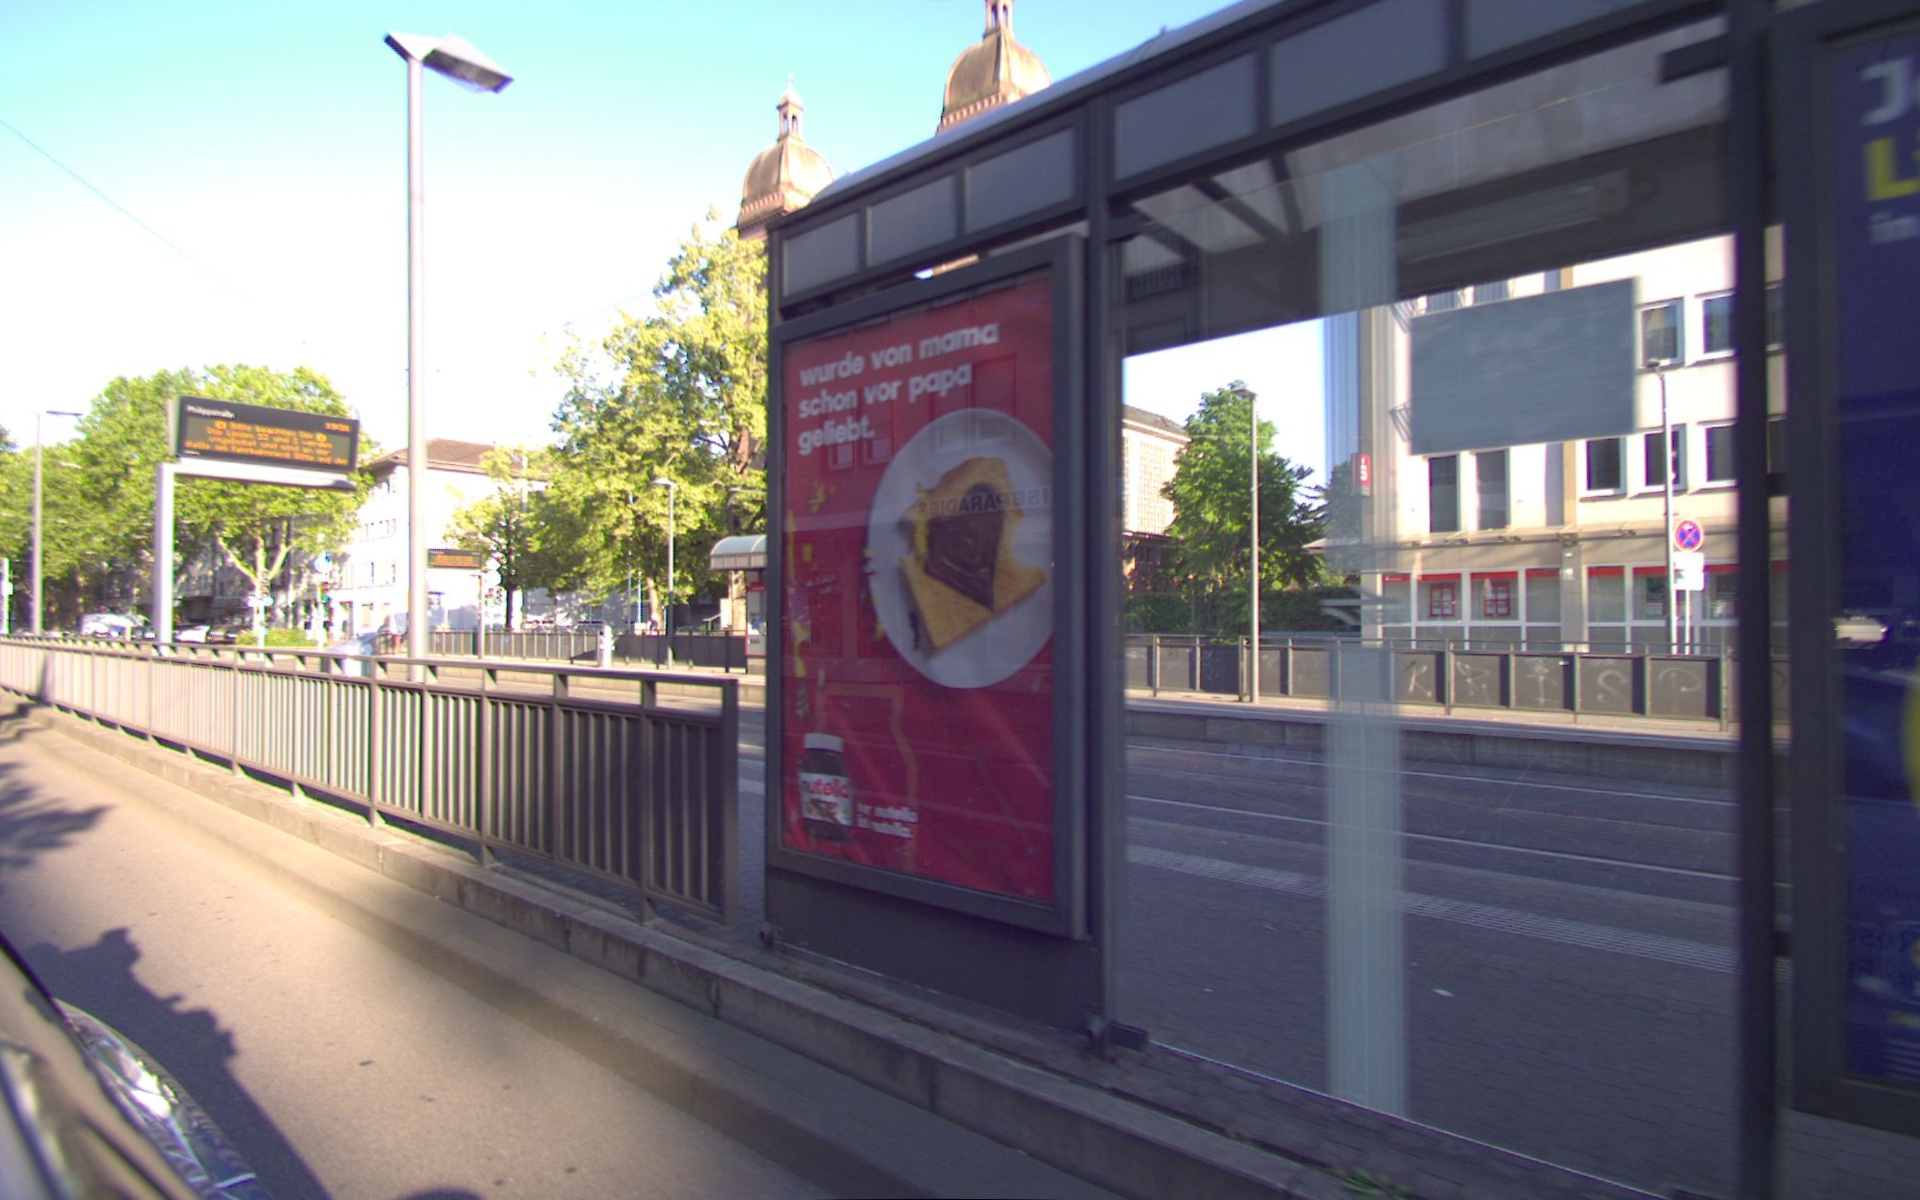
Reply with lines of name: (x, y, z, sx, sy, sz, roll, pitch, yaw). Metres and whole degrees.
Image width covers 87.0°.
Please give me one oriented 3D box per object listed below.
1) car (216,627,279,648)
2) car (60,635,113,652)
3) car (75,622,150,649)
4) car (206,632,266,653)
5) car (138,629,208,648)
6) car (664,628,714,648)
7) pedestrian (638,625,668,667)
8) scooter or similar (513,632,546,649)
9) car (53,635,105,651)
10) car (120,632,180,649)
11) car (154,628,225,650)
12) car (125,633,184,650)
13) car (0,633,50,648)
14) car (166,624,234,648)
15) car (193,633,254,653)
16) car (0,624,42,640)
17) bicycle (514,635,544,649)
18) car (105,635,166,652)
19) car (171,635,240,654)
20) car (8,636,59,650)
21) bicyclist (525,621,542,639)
car: (-50.658, 2.649, 72.002, 1.747, 1.443, 3.972, 0, -2, -2)
car: (-96.344, 4.757, 111.681, 1.981, 1.830, 3.982, -1, -2, 14)
car: (-87.013, 3.671, 104.025, 2.161, 2.721, 5.582, -1, -2, 16)
car: (-53.056, 3.111, 74.243, 1.717, 1.443, 3.972, -1, -2, -2)
car: (-64.361, 3.143, 82.821, 1.634, 1.569, 4.220, -1, -2, 25)
car: (-20.697, 2.918, 77.151, 3.998, 1.409, 1.792, -3, -4, 42)
pedestrian: (-13.310, 1.973, 43.864, 0.832, 1.773, 0.909, 1, 0, 43)
scooter or similar: (-28.589, 2.683, 67.238, 2.447, 1.135, 1.082, -1, -2, 42)
car: (-98.919, 4.839, 113.701, 1.981, 1.830, 3.982, -1, -2, 14)
car: (-74.443, 3.729, 93.032, 1.883, 1.469, 4.250, 0, -2, 5)
car: (-60.604, 3.047, 79.717, 2.127, 1.697, 4.249, 0, -2, 6)
car: (-72.129, 3.695, 90.697, 1.582, 1.470, 4.250, 0, -2, 5)
car: (-109.381, 4.706, 118.250, 1.997, 1.719, 4.183, -2, -3, 37)
car: (-62.188, 2.957, 82.918, 1.508, 1.958, 4.220, -1, -2, 25)
car: (-55.595, 3.230, 76.504, 1.805, 1.516, 3.972, 0, -2, -2)
car: (-140.388, 4.793, 151.149, 2.072, 2.230, 4.942, 0, -2, -1)
bicycle: (-31.578, 3.059, 74.147, 0.632, 0.988, 1.962, -2, -3, 41)
car: (-77.808, 4.112, 95.534, 1.985, 1.530, 3.972, -1, -2, 21)
car: (-57.923, 3.420, 77.790, 2.123, 1.388, 4.256, 0, -2, 0)
car: (-108.885, 5.046, 118.941, 1.981, 1.719, 3.982, -1, -2, 14)
bicyclist: (-31.363, 2.203, 74.453, 0.632, 1.341, 0.956, -2, -3, 42)
